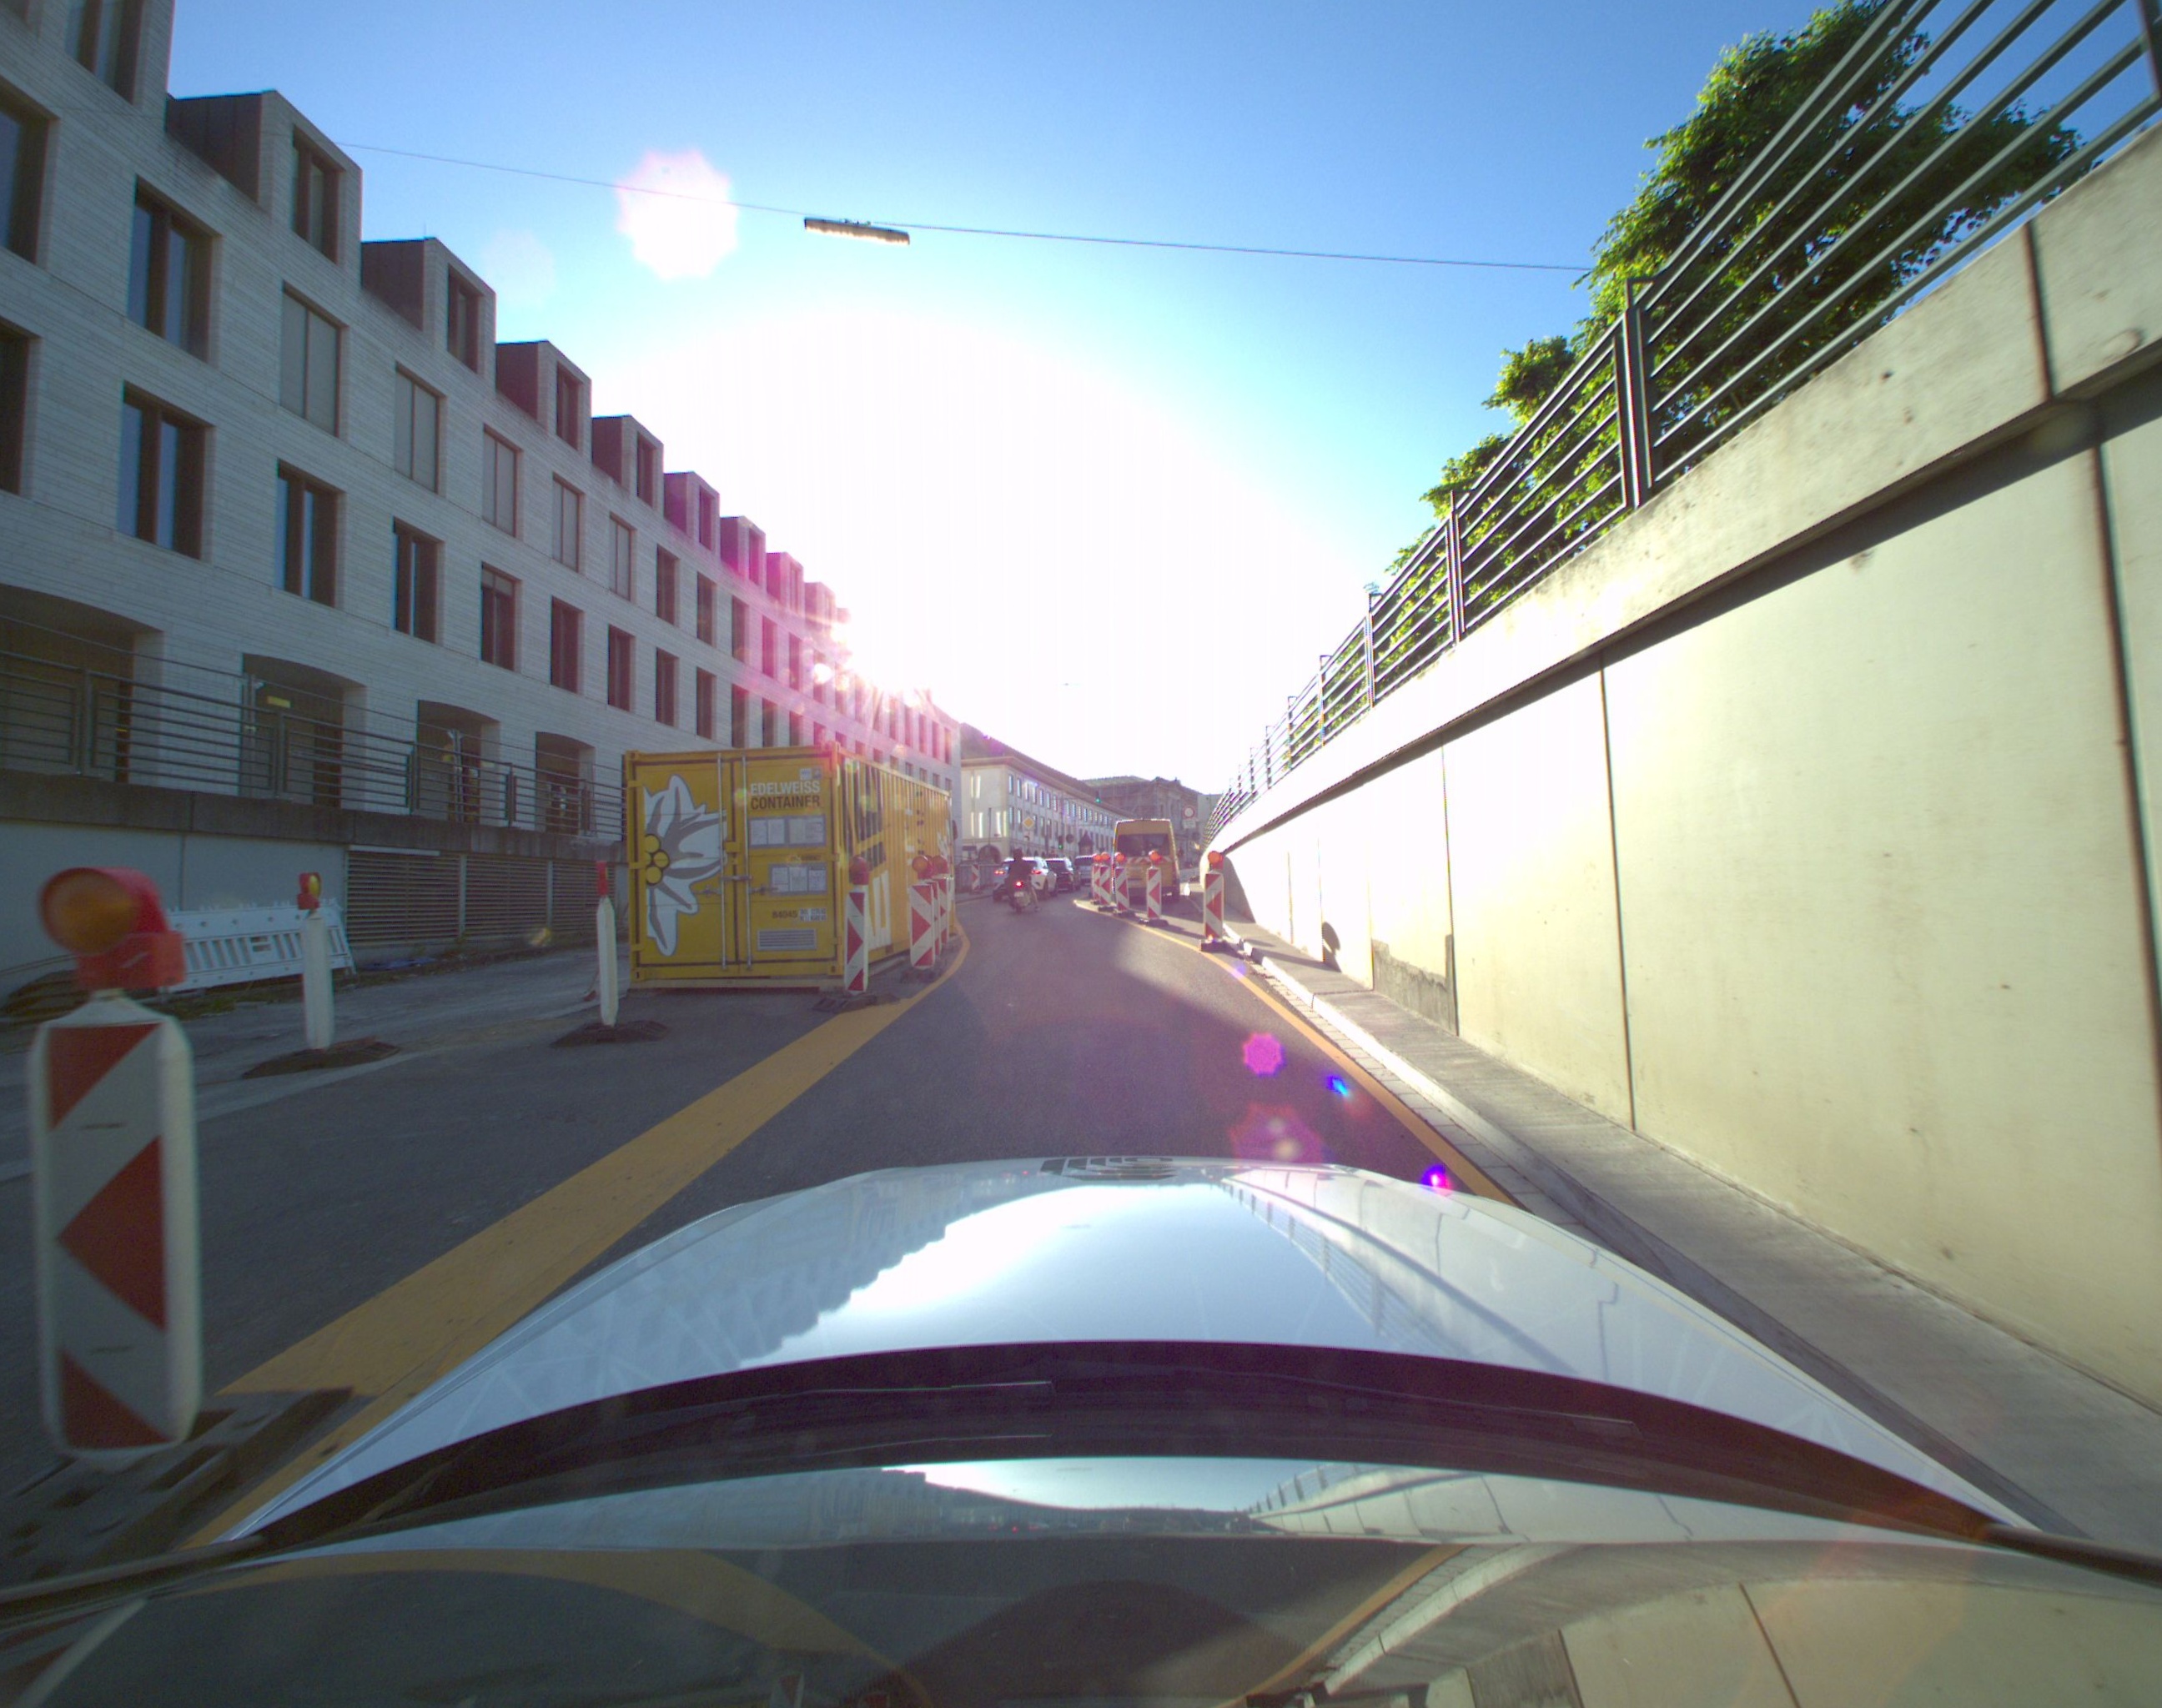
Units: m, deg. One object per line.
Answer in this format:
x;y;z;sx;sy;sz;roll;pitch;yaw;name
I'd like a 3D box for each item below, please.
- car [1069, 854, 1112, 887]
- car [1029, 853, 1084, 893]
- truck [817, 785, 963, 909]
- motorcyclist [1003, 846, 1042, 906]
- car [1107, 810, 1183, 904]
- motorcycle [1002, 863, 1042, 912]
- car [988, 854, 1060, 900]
0.595;0.886;46.389;1.792;1.721;4.174;-2;0;9;car
-0.993;0.853;34.986;1.765;1.550;4.112;-2;-2;6;car
-6.136;-0.196;27.190;2.566;3.489;5.827;-6;-1;7;truck
-1.567;0.575;22.182;0.951;1.559;1.238;-1;0;-1;motorcyclist
2.196;0.109;26.999;2.101;2.625;6.998;-2;-1;6;car
-1.581;0.876;22.217;0.903;1.183;2.578;-1;0;0;motorcycle
-1.921;0.773;28.777;1.850;1.472;4.006;-1;-1;6;car
